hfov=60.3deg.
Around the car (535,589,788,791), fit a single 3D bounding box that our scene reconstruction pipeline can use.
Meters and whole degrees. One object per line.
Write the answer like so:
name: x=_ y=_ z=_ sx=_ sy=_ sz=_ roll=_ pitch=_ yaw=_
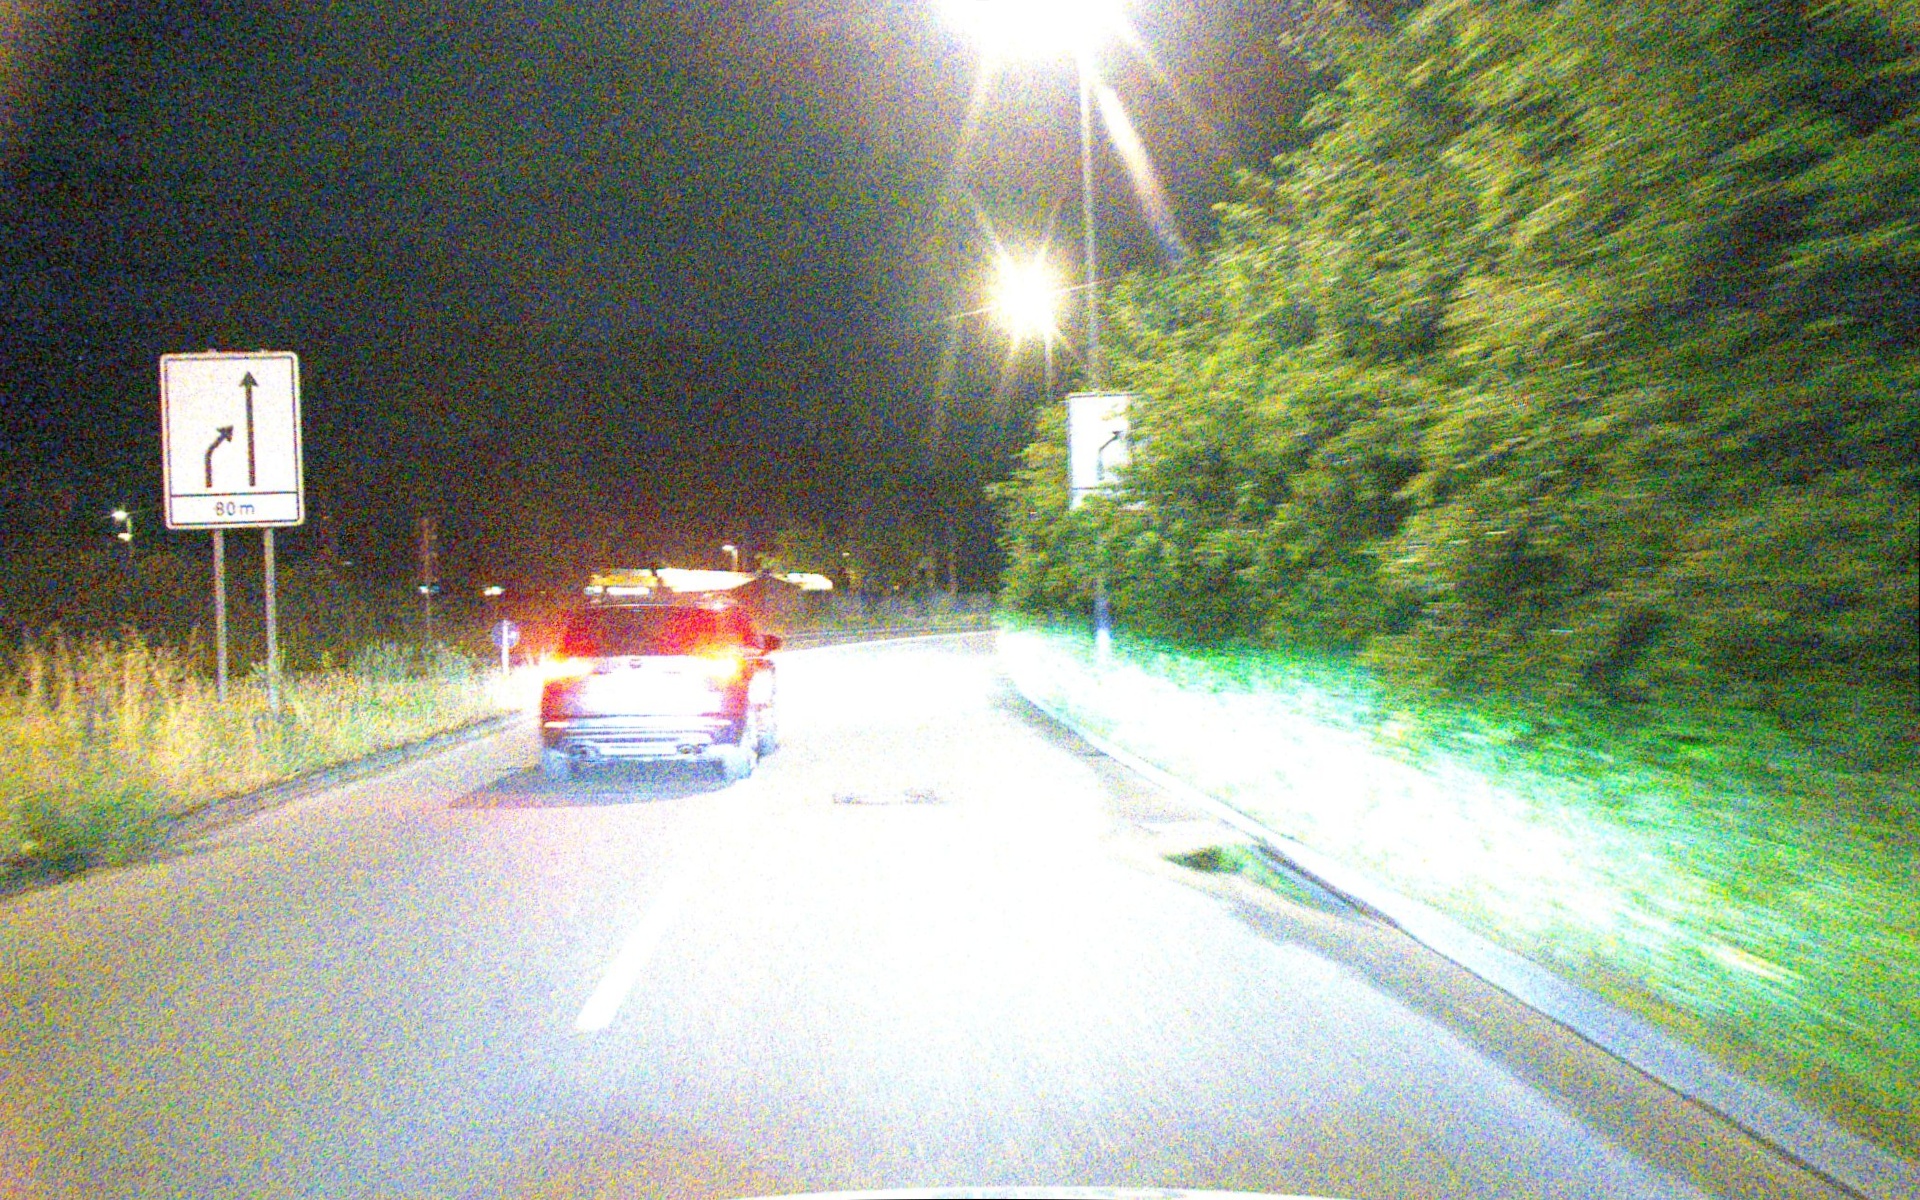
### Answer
car: x=-2.594 y=0.721 z=15.243 sx=1.815 sy=1.610 sz=4.004 roll=0 pitch=0 yaw=-3
